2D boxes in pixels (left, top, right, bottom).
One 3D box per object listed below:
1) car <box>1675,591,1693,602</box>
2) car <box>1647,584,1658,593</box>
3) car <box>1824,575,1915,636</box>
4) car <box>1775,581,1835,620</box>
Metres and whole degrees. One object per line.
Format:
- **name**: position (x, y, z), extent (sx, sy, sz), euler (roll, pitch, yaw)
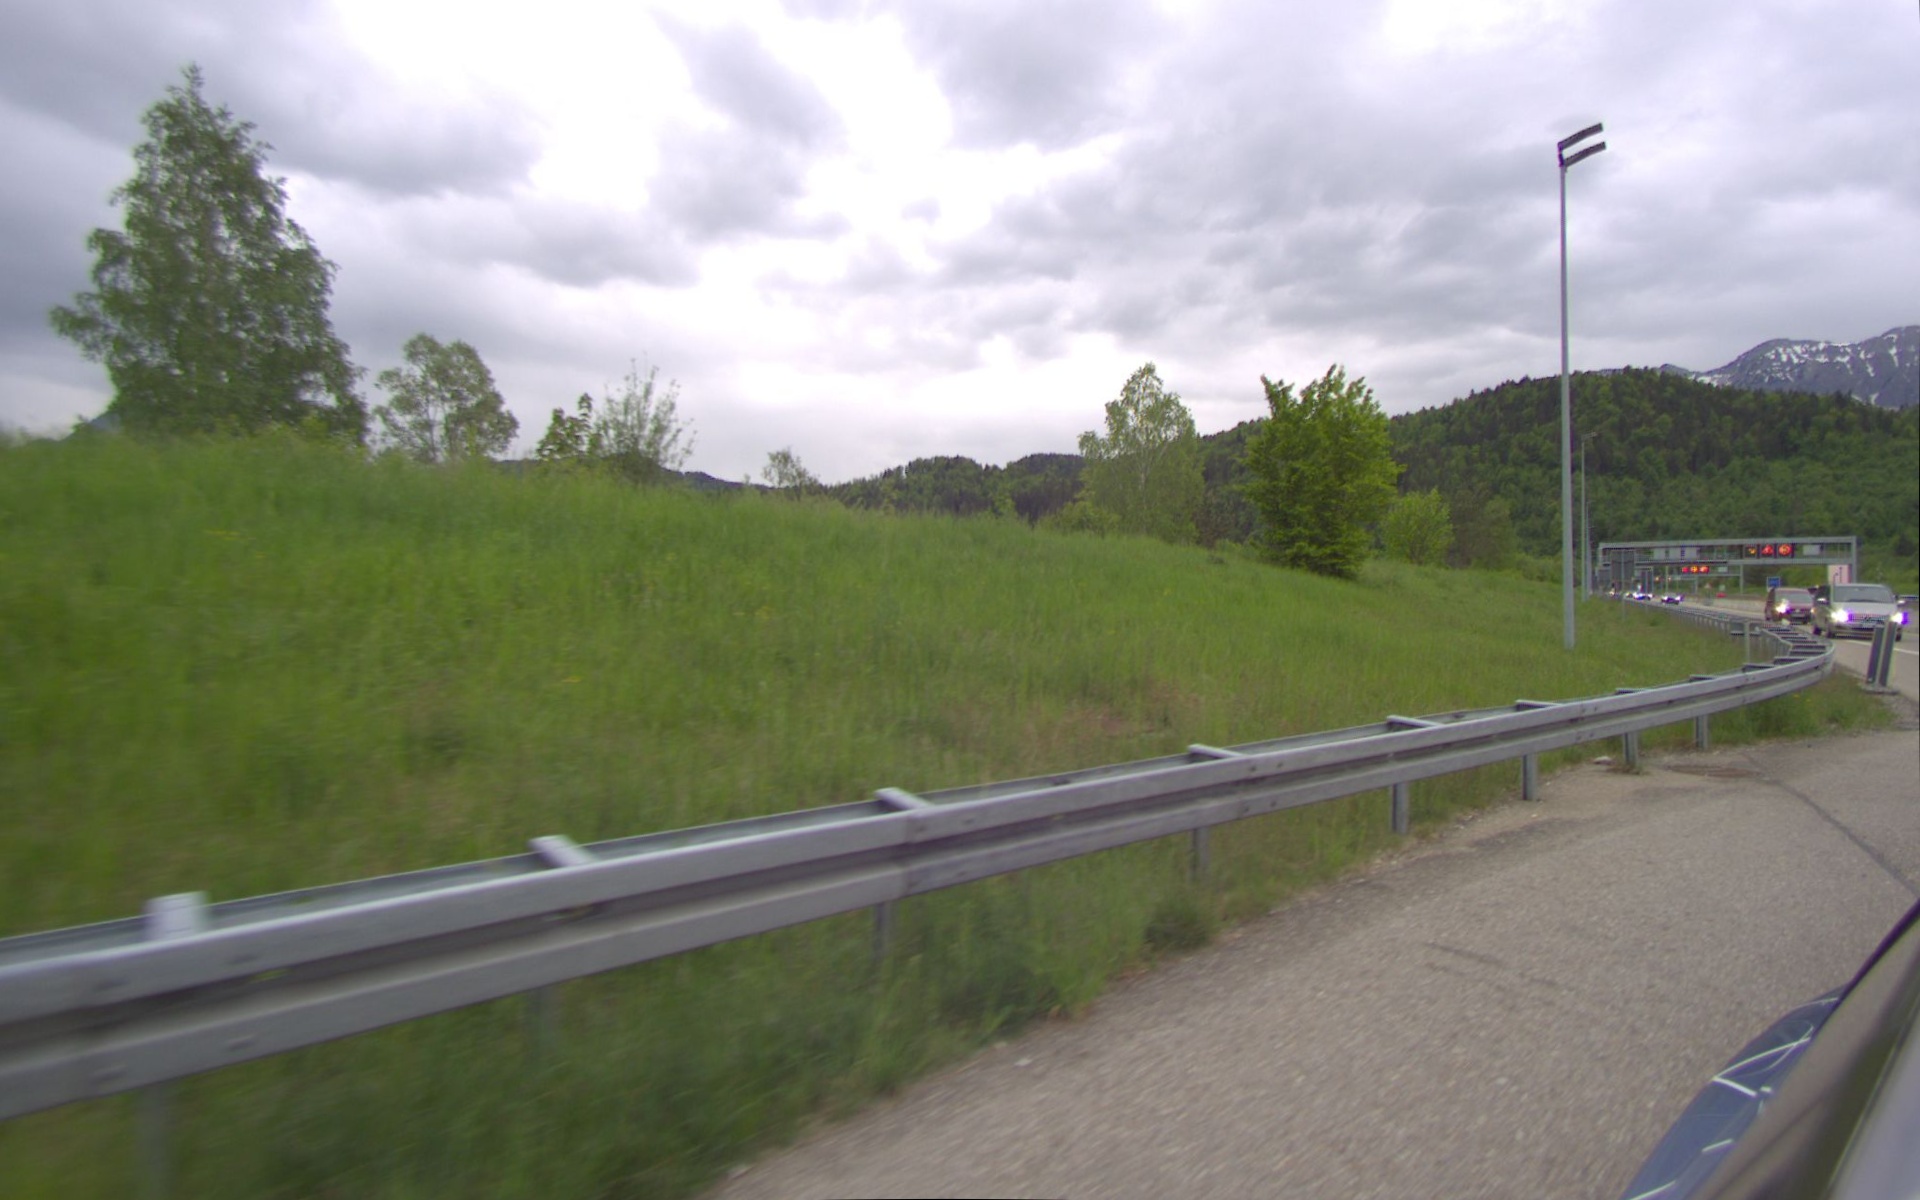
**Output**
- **car**: position (94.758, -0.499, 132.511), extent (1.653, 1.353, 3.747), euler (2, 2, 33)
- **car**: position (136.213, -2.300, 199.062), extent (1.623, 1.719, 3.450), euler (2, 1, 37)
- **car**: position (30.752, 0.120, 34.341), extent (1.914, 1.905, 5.068), euler (1, 1, 38)
- **car**: position (41.964, -0.005, 50.330), extent (1.745, 1.827, 3.953), euler (2, 1, 33)
